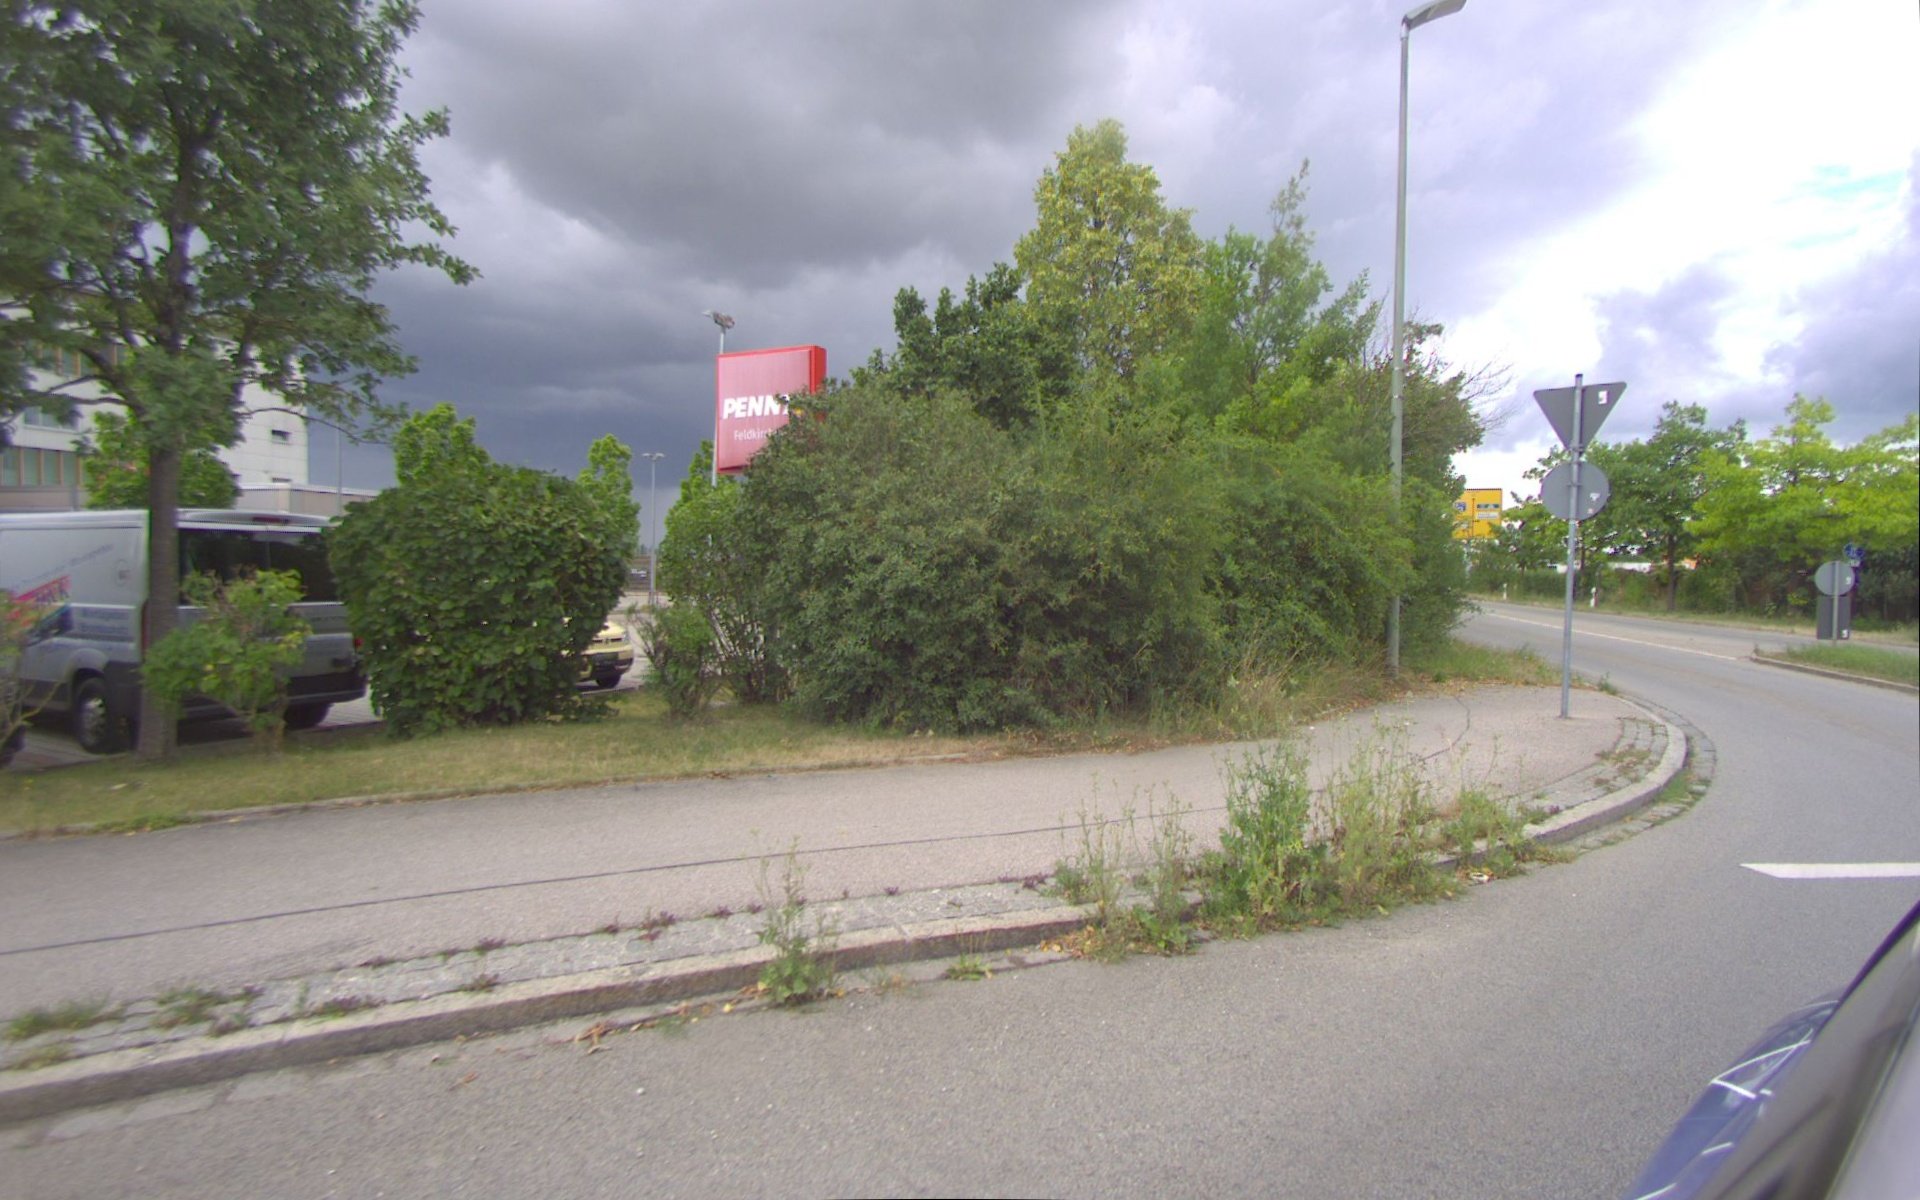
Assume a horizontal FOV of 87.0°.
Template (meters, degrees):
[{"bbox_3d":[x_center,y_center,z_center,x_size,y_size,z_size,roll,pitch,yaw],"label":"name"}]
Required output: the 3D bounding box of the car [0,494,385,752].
[{"bbox_3d":[-8.387,0.124,10.455,4.369,2.185,2.139,1,2,25],"label":"car"}]

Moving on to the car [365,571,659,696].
[{"bbox_3d":[-6.432,0.379,14.531,3.896,1.575,1.748,1,2,25],"label":"car"}]

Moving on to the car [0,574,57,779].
[{"bbox_3d":[-9.328,0.542,7.954,4.369,1.512,1.748,1,2,25],"label":"car"}]

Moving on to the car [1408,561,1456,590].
[{"bbox_3d":[28.619,-1.515,61.483,1.718,1.605,4.340,3,3,13],"label":"car"}]
